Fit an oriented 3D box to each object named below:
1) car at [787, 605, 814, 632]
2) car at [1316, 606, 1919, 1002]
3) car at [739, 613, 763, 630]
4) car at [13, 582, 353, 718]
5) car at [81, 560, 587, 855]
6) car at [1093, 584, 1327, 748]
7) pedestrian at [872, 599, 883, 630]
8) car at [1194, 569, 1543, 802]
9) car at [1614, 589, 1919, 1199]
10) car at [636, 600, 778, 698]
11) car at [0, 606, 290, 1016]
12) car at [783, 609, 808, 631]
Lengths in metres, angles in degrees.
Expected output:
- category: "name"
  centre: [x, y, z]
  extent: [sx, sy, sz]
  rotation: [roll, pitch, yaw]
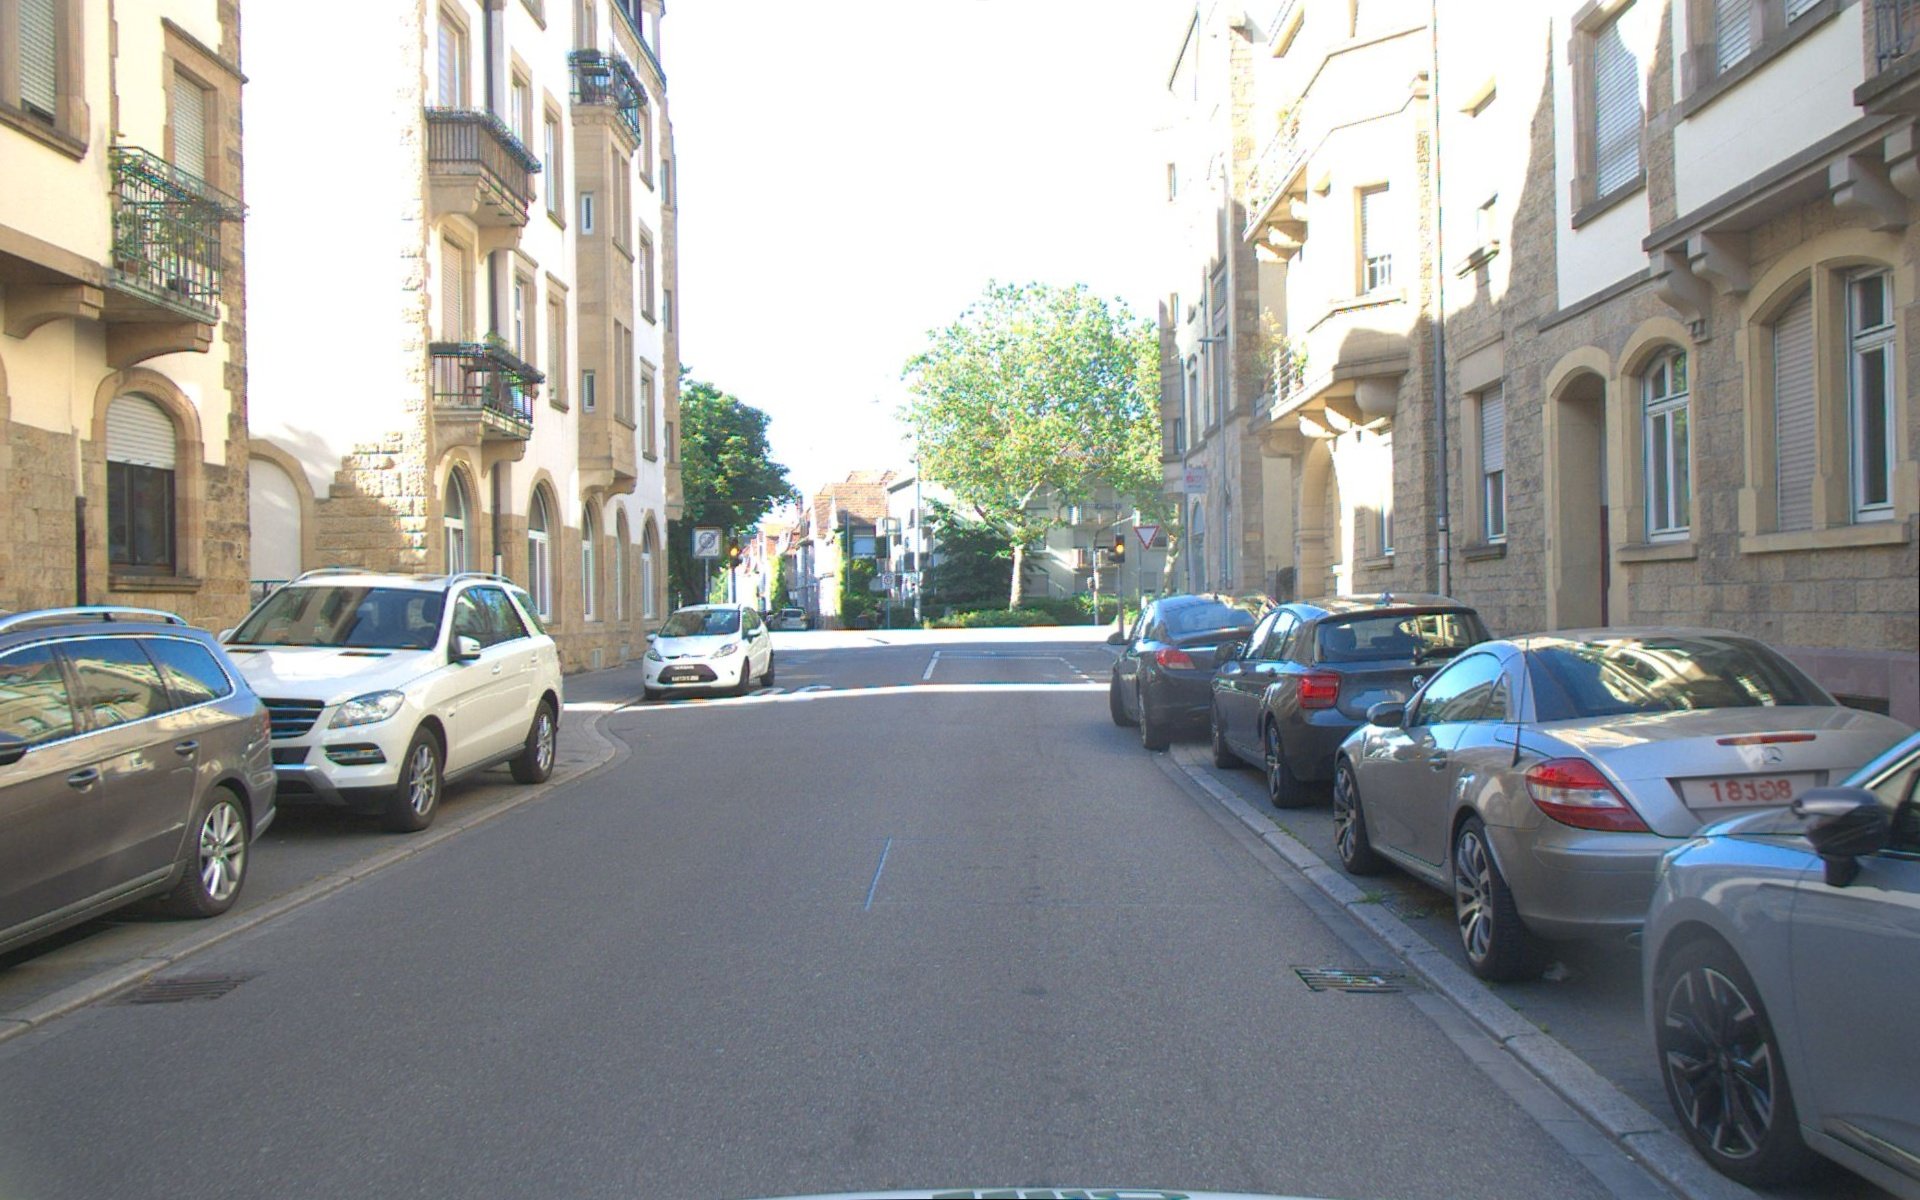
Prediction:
- category: "car"
  centre: [-12.630, 1.462, 130.832]
  extent: [1.956, 2.049, 3.993]
  rotation: [-2, 0, -8]
- category: "car"
  centre: [2.866, 0.713, 7.673]
  extent: [1.658, 1.276, 3.942]
  rotation: [-2, 0, 2]
- category: "car"
  centre: [-17.594, 1.803, 139.380]
  extent: [1.707, 1.360, 3.823]
  rotation: [-1, 0, -11]
- category: "car"
  centre: [-10.957, 0.678, 23.548]
  extent: [3.887, 1.758, 1.909]
  rotation: [-2, 0, -1]
- category: "car"
  centre: [-4.395, 0.678, 12.563]
  extent: [1.853, 1.752, 4.727]
  rotation: [2, 0, 2]
- category: "car"
  centre: [2.531, 0.613, 17.770]
  extent: [1.827, 1.487, 4.339]
  rotation: [-2, 0, 0]
- category: "pedestrian"
  centre: [-4.800, 0.863, 96.059]
  extent: [0.620, 1.780, 0.659]
  rotation: [0, -1, -2]
- category: "car"
  centre: [2.974, 0.553, 12.947]
  extent: [1.617, 1.467, 4.258]
  rotation: [-2, 0, 0]
- category: "car"
  centre: [2.914, 0.701, 3.042]
  extent: [1.750, 1.455, 3.805]
  rotation: [-1, 0, -3]
- category: "car"
  centre: [-4.153, 0.765, 27.692]
  extent: [1.599, 1.489, 3.736]
  rotation: [-1, 0, 3]
- category: "car"
  centre: [-4.366, 0.801, 6.632]
  extent: [1.541, 1.513, 4.280]
  rotation: [0, 0, 1]
- category: "car"
  centre: [-11.147, 1.368, 112.259]
  extent: [1.641, 1.509, 3.517]
  rotation: [0, -1, -6]
